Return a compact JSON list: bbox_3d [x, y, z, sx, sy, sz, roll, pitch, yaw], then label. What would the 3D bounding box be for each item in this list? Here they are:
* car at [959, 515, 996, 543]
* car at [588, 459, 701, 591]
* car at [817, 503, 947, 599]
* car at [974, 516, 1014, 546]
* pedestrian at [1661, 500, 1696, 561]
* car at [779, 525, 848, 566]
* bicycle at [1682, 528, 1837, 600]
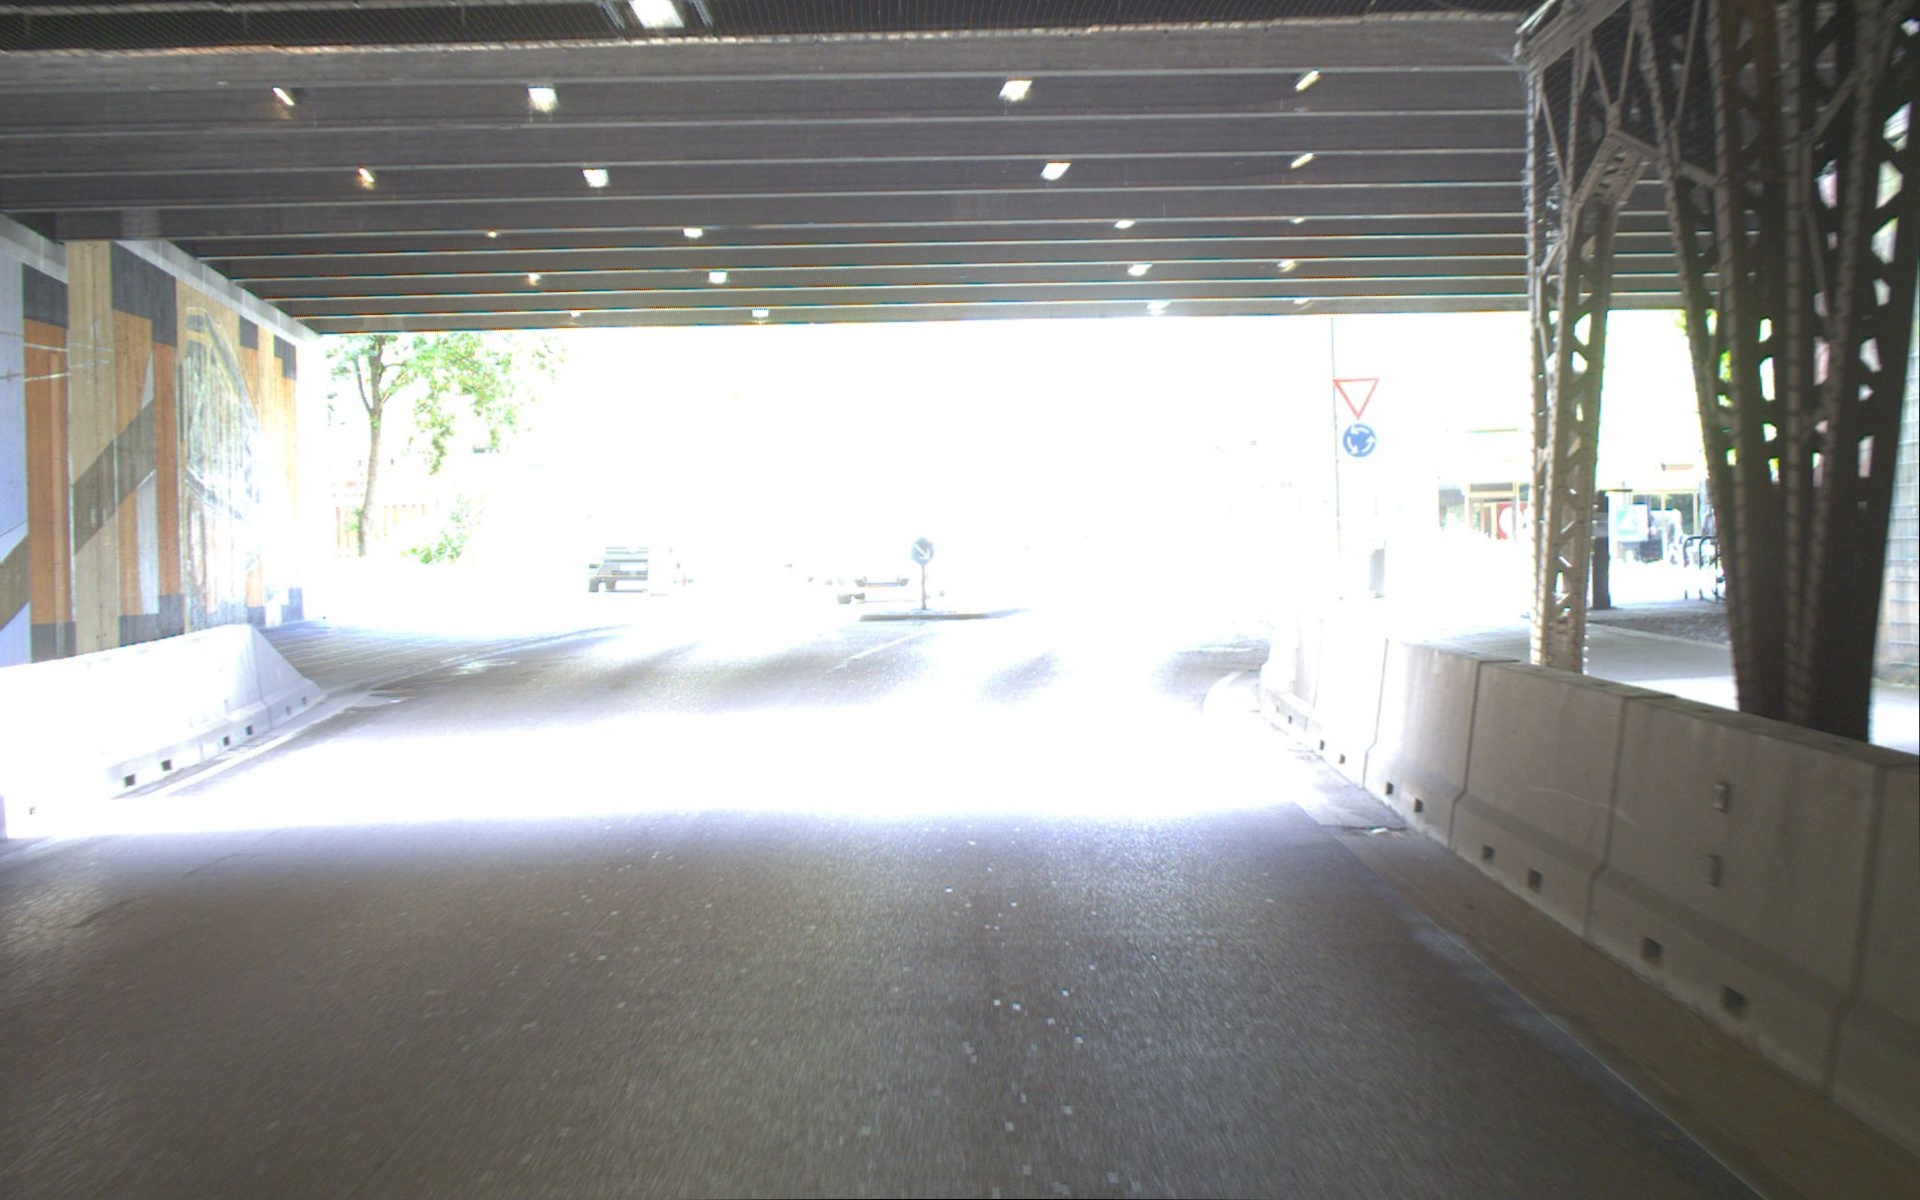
[{"bbox_3d":[0.850,-3.525,170.331,1.709,1.349,4.001,0,2,-1],"label":"car"},{"bbox_3d":[-6.514,-1.568,71.541,1.967,2.598,5.931,1,1,-2],"label":"car"},{"bbox_3d":[-1.404,-0.935,63.263,1.826,1.648,4.213,-2,1,6],"label":"car"},{"bbox_3d":[1.516,-3.124,155.411,1.709,1.349,4.001,0,2,-1],"label":"car"},{"bbox_3d":[19.769,-1.906,94.599,0.695,1.669,0.617,-1,1,-21],"label":"pedestrian"},{"bbox_3d":[-4.643,-1.739,109.536,1.710,1.241,4.411,0,2,4],"label":"car"},{"bbox_3d":[10.754,-0.479,46.275,1.945,0.901,0.507,-2,0,-1],"label":"bicycle"}]
